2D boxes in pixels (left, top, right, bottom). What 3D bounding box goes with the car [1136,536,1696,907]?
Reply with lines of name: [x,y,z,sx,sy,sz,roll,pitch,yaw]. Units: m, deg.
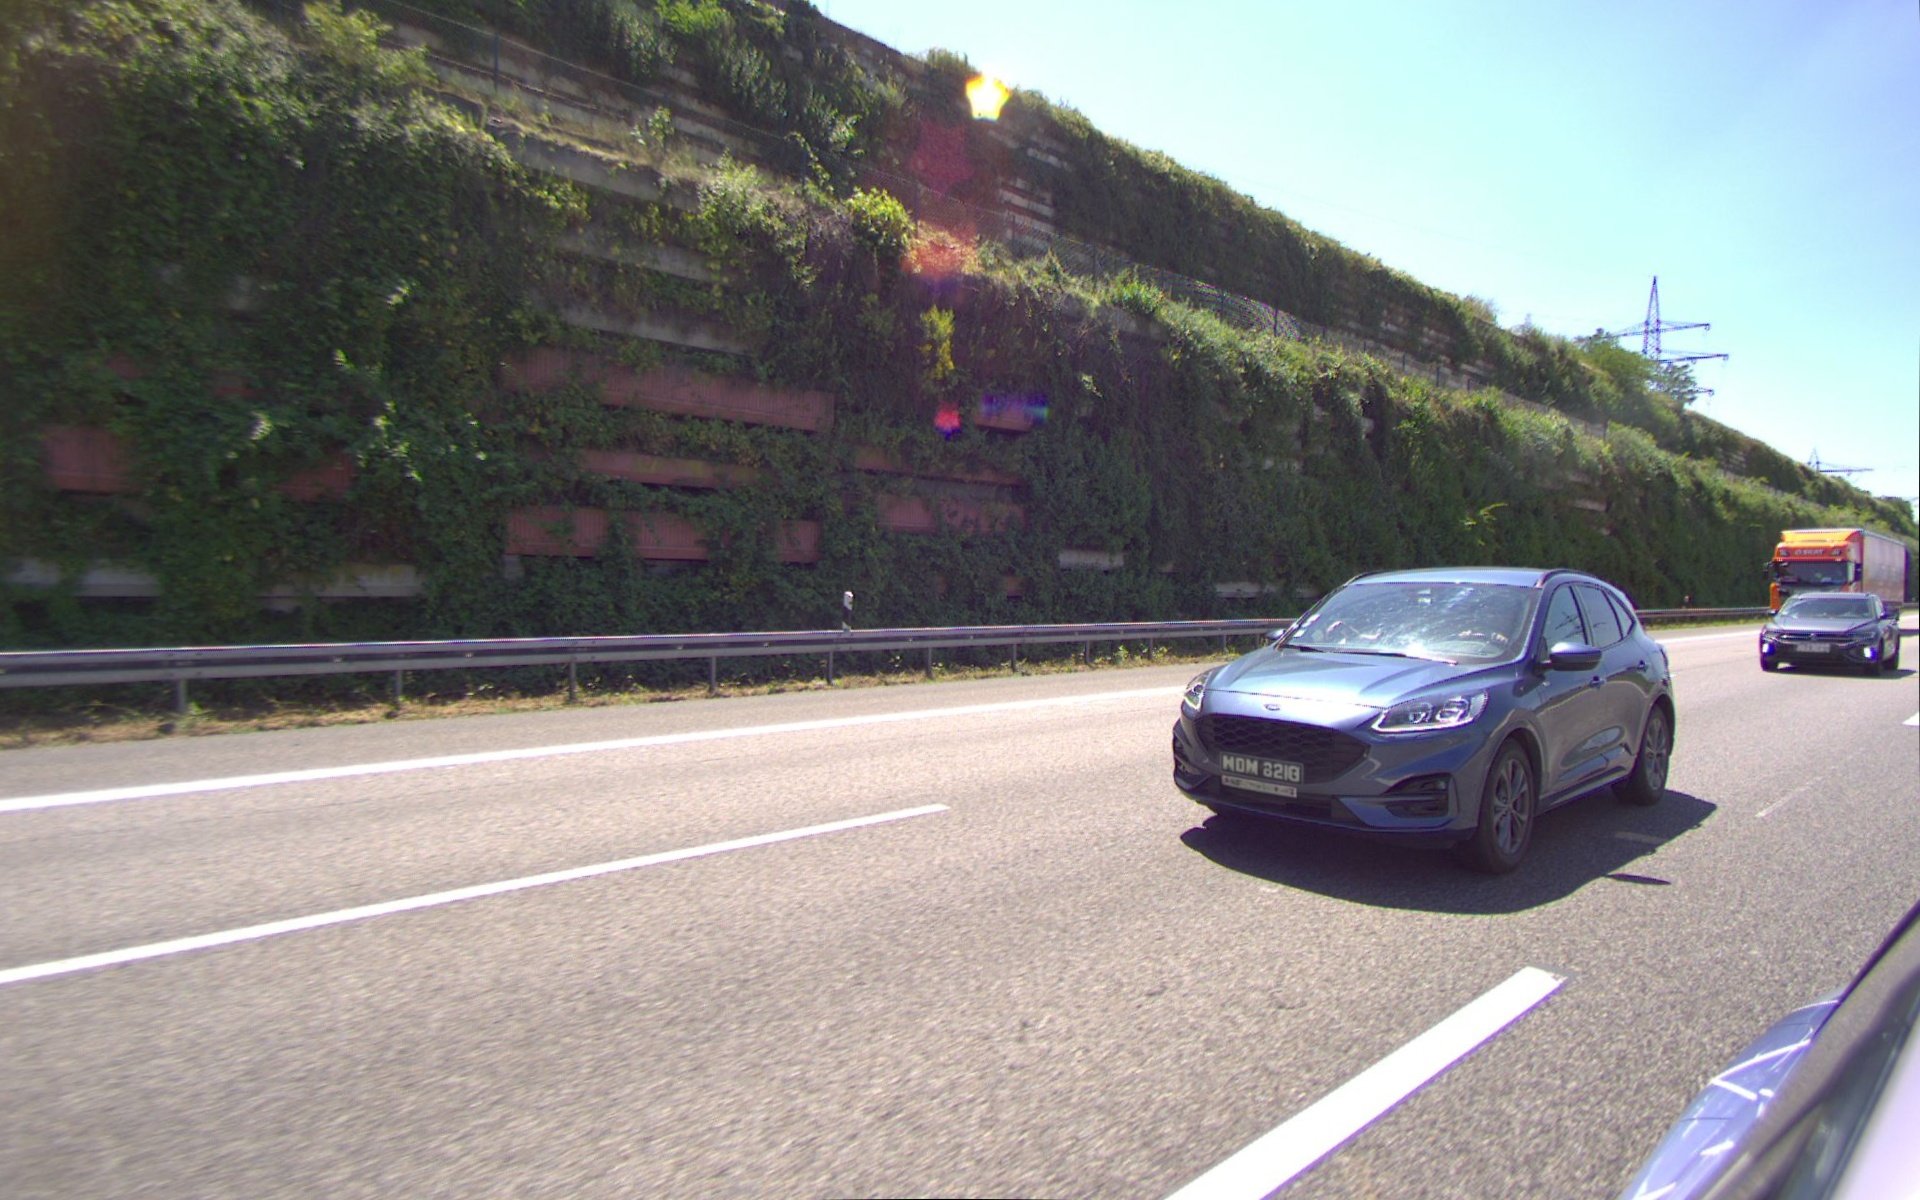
car: [3.145,0.514,6.581,4.066,1.674,1.797,0,1,-41]

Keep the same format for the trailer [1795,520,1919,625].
trailer: [39.807,-1.115,44.587,13.371,4.055,2.649,0,1,-42]

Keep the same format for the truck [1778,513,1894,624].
truck: [34.747,-1.196,40.053,6.413,4.042,2.622,0,1,-42]

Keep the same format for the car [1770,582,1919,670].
car: [17.569,0.441,20.034,3.927,1.544,1.752,-1,2,-42]
